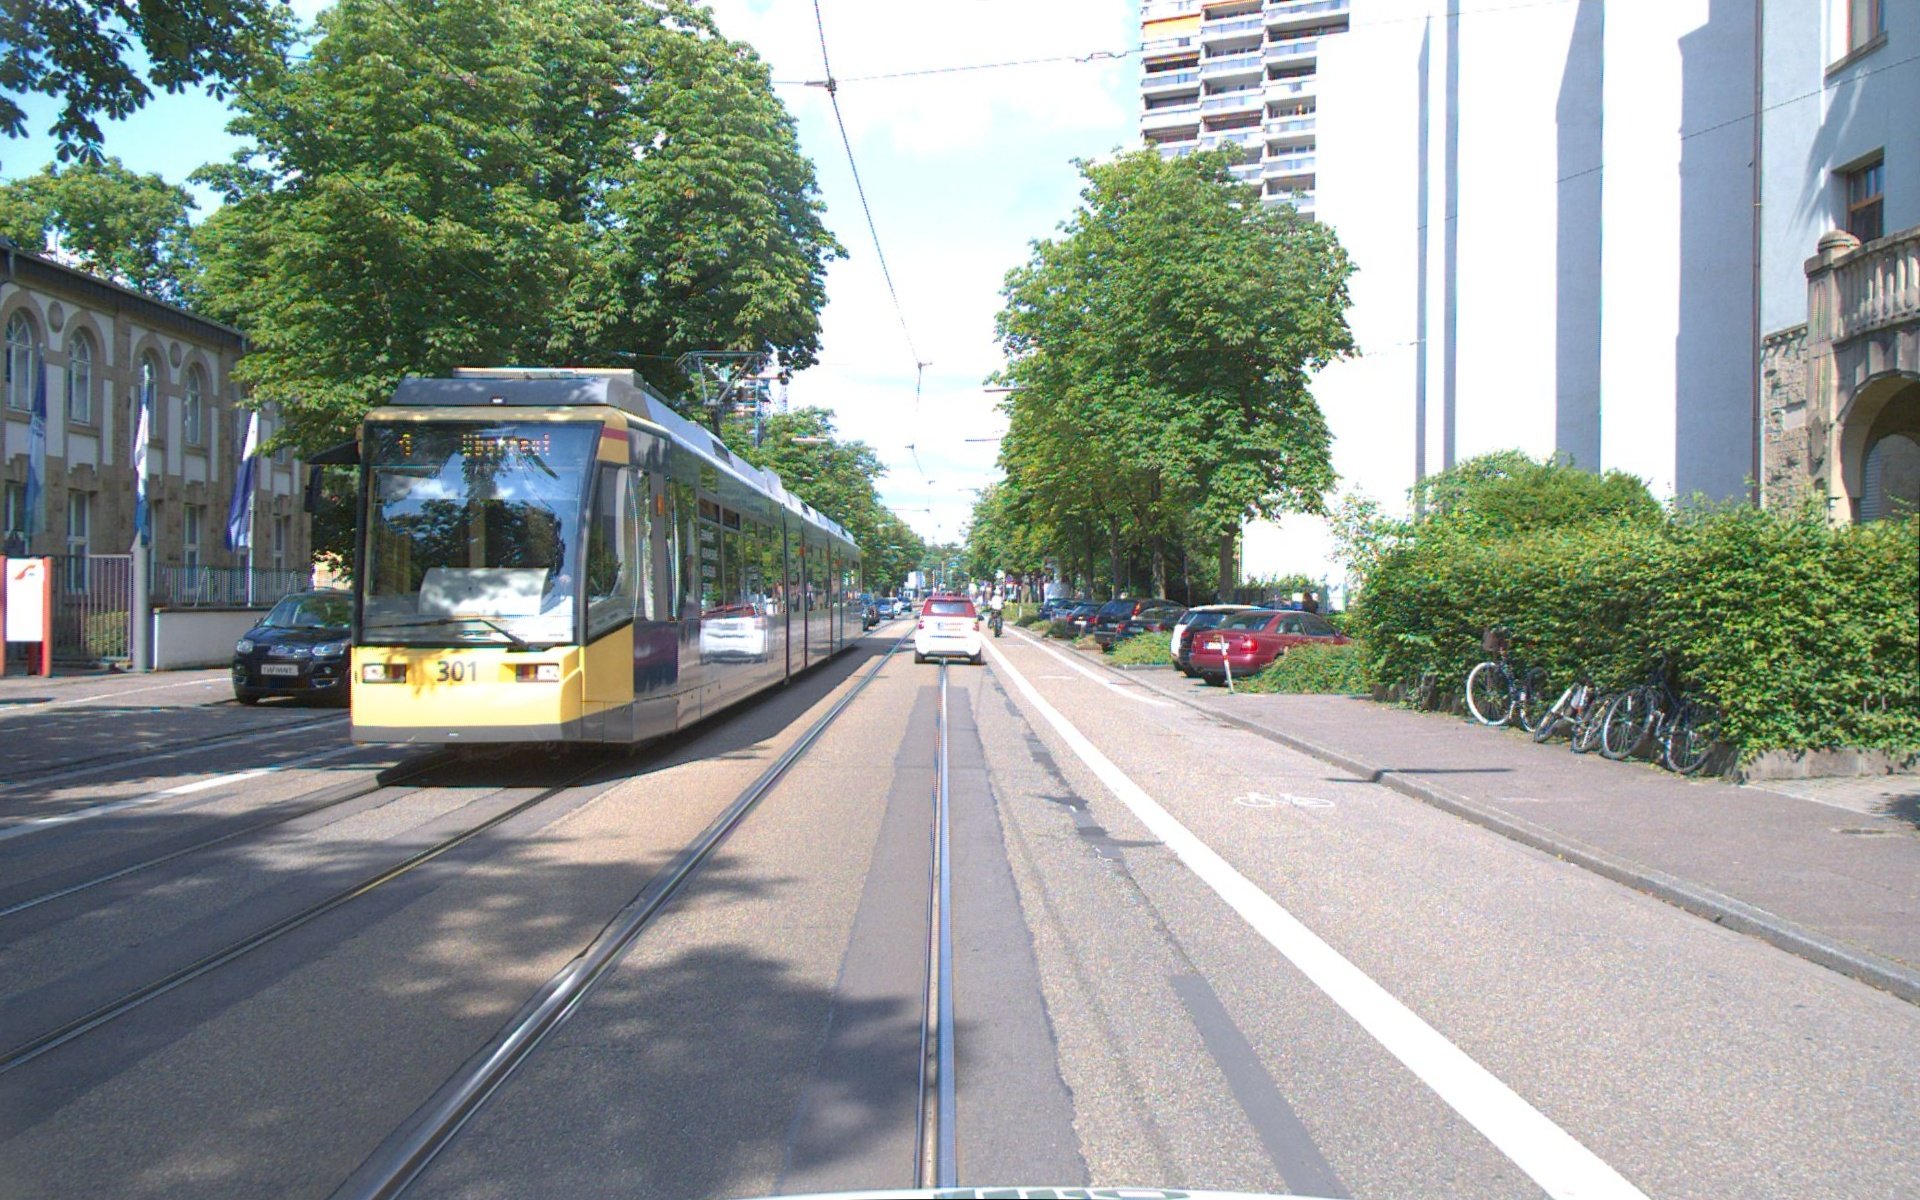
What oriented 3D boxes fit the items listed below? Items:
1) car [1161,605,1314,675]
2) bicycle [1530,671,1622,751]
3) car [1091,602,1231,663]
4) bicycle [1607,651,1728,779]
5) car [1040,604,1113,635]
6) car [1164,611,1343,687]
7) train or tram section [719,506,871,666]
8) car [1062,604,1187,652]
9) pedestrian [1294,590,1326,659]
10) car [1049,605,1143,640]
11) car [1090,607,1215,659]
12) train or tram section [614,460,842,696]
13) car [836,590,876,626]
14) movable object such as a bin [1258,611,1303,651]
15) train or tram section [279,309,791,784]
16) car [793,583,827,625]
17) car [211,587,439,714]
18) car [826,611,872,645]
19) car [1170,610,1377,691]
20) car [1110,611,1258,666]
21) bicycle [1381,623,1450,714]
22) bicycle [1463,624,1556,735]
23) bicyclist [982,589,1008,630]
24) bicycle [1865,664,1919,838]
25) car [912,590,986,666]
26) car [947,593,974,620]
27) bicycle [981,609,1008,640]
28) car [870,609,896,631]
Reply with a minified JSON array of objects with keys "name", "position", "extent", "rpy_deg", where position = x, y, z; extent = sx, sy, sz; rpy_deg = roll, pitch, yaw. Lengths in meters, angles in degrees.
[{"name":"car","position":[6.432,0.908,38.078],"extent":[1.509,1.486,3.973],"rpy_deg":[1,0,43]},{"name":"bicycle","position":[6.055,1.074,16.319],"extent":[0.274,0.689,1.559],"rpy_deg":[-3,-1,-1]},{"name":"car","position":[5.834,0.949,47.720],"extent":[3.967,1.602,1.876],"rpy_deg":[2,0,-43]},{"name":"bicycle","position":[6.029,0.955,14.165],"extent":[0.268,0.922,1.668],"rpy_deg":[-3,1,-1]},{"name":"car","position":[5.945,0.966,84.047],"extent":[1.588,1.512,3.973],"rpy_deg":[-1,0,43]},{"name":"car","position":[6.199,1.001,34.684],"extent":[3.968,1.474,1.672],"rpy_deg":[1,0,-44]},{"name":"train or tram section","position":[-3.983,-0.247,43.082],"extent":[2.598,3.415,14.106],"rpy_deg":[-1,-1,-1]},{"name":"car","position":[5.774,0.996,57.664],"extent":[1.997,1.467,4.505],"rpy_deg":[2,-1,44]},{"name":"pedestrian","position":[9.793,0.689,46.291],"extent":[0.744,1.906,1.003],"rpy_deg":[1,0,5]},{"name":"car","position":[6.119,1.018,74.224],"extent":[4.201,1.445,1.700],"rpy_deg":[1,1,-39]},{"name":"car","position":[5.978,0.980,51.095],"extent":[1.698,1.468,4.046],"rpy_deg":[3,2,45]},{"name":"train or tram section","position":[-3.870,-0.284,30.367],"extent":[2.598,3.448,11.471],"rpy_deg":[-1,-1,-1]},{"name":"car","position":[-5.323,0.417,85.092],"extent":[1.789,1.757,4.390],"rpy_deg":[2,-1,-2]},{"name":"movable object such as a bin","position":[11.151,1.057,57.607],"extent":[1.249,1.341,1.325],"rpy_deg":[2,-1,-1]},{"name":"train or tram section","position":[-3.800,-0.352,18.513],"extent":[2.598,3.497,12.313],"rpy_deg":[-1,-1,-1]},{"name":"car","position":[-10.031,0.268,110.938],"extent":[1.733,2.686,5.321],"rpy_deg":[2,-1,-1]},{"name":"car","position":[-9.385,0.709,24.856],"extent":[1.770,1.670,4.330],"rpy_deg":[2,-1,-1]},{"name":"car","position":[-4.798,1.185,72.004],"extent":[1.762,1.412,4.425],"rpy_deg":[0,0,-1]},{"name":"car","position":[6.018,0.909,31.508],"extent":[4.127,1.448,1.837],"rpy_deg":[0,0,-44]},{"name":"car","position":[6.109,1.059,44.787],"extent":[1.873,1.373,4.146],"rpy_deg":[2,-1,44]},{"name":"bicycle","position":[5.974,0.873,21.749],"extent":[0.274,1.128,2.010],"rpy_deg":[-3,-1,-1]},{"name":"bicycle","position":[6.028,0.843,18.232],"extent":[0.274,1.128,2.010],"rpy_deg":[-3,-1,-1]},{"name":"bicyclist","position":[1.380,0.373,64.533],"extent":[0.871,1.555,1.085],"rpy_deg":[2,-1,5]},{"name":"bicycle","position":[5.987,0.894,9.404],"extent":[0.600,1.006,1.872],"rpy_deg":[-1,-1,-1]},{"name":"car","position":[-0.259,0.635,39.404],"extent":[1.631,1.653,3.620],"rpy_deg":[2,0,0]},{"name":"car","position":[0.031,0.418,103.708],"extent":[1.631,1.653,3.620],"rpy_deg":[1,0,-1]},{"name":"bicycle","position":[1.332,0.948,64.282],"extent":[0.856,1.145,2.137],"rpy_deg":[2,-1,5]},{"name":"car","position":[-5.376,1.380,115.742],"extent":[1.737,1.441,3.851],"rpy_deg":[-2,0,-1]}]
